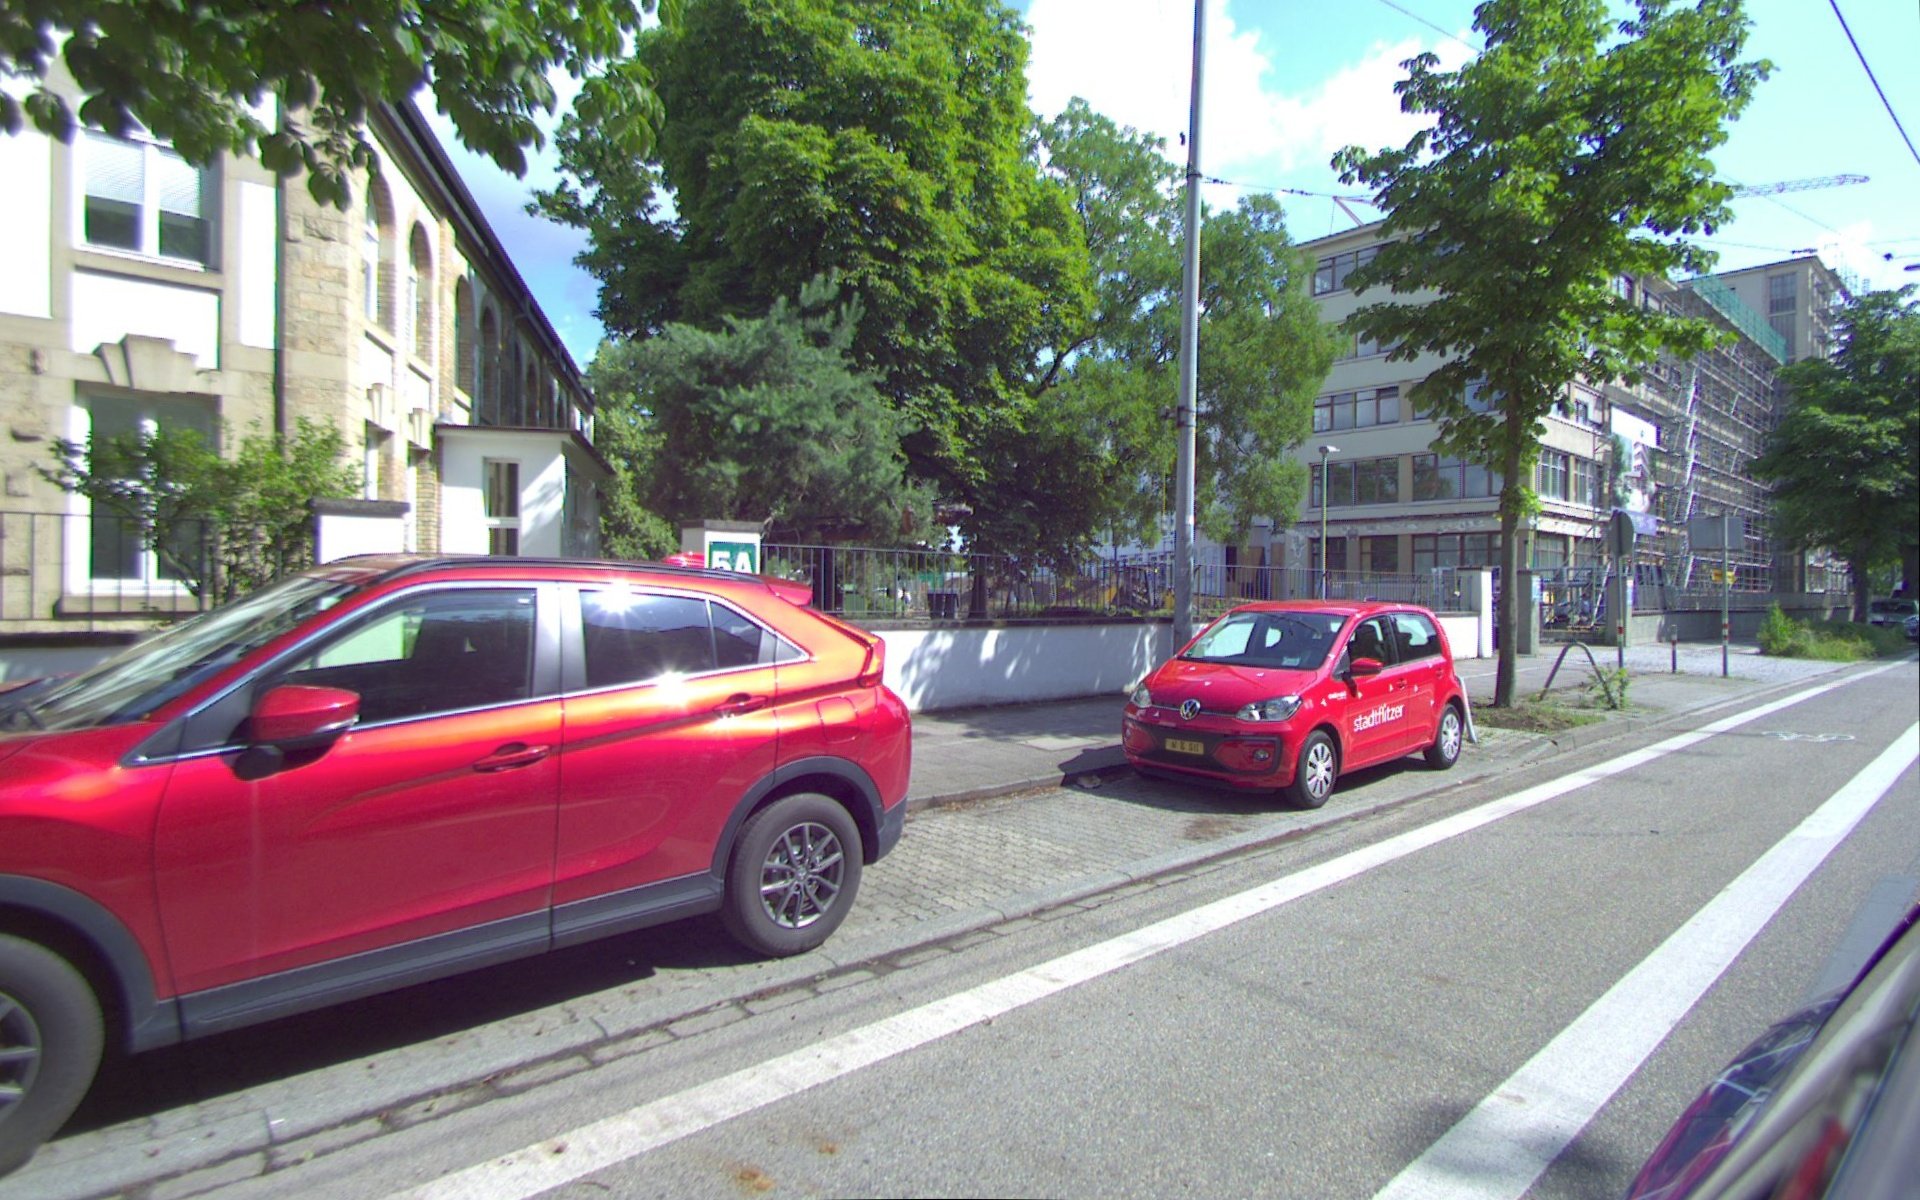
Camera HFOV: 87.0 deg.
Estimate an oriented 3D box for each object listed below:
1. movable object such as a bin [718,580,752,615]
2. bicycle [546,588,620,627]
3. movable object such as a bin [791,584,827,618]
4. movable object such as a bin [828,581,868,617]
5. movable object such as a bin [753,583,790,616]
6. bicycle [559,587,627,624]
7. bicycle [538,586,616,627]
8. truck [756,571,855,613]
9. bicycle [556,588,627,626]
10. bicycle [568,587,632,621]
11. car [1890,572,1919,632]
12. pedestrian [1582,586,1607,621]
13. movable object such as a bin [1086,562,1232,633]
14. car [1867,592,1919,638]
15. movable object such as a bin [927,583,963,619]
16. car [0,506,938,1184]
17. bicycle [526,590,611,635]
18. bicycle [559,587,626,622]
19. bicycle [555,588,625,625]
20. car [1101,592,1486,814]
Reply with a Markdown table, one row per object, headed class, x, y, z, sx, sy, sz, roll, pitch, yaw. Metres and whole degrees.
| class | x | y | z | sx | sy | sz | roll | pitch | yaw |
| --- | --- | --- | --- | --- | --- | --- | --- | --- | --- |
| movable object such as a bin | -8.574 | -0.107 | 38.524 | 1.166 | 1.309 | 1.005 | 1 | 1 | -17 |
| bicycle | -9.893 | 0.197 | 26.590 | 1.782 | 1.000 | 0.428 | 1 | -1 | -15 |
| movable object such as a bin | -5.862 | 0.030 | 39.269 | 1.229 | 1.281 | 1.002 | 1 | 1 | -17 |
| movable object such as a bin | -4.403 | -0.036 | 39.712 | 1.338 | 1.369 | 1.096 | 1 | 1 | -17 |
| movable object such as a bin | -7.245 | -0.016 | 38.870 | 1.247 | 1.235 | 1.031 | 1 | 1 | -17 |
| bicycle | -10.469 | 0.164 | 28.906 | 1.782 | 1.000 | 0.428 | 1 | -1 | -15 |
| bicycle | -9.663 | 0.179 | 25.558 | 1.782 | 1.000 | 0.428 | 1 | -1 | -15 |
| truck | -10.652 | -0.524 | 69.987 | 6.424 | 2.813 | 2.002 | 0 | -1 | -28 |
| bicycle | -10.064 | 0.183 | 27.681 | 1.782 | 1.000 | 0.428 | 1 | -1 | -15 |
| bicycle | -10.957 | 0.123 | 30.809 | 1.782 | 1.000 | 0.428 | 1 | -1 | -15 |
| car | 43.566 | 0.035 | 45.300 | 5.299 | 2.593 | 2.333 | -1 | -2 | -43 |
| pedestrian | 24.730 | 0.144 | 39.447 | 0.455 | 1.329 | 0.634 | -3 | 0 | -38 |
| movable object such as a bin | 7.876 | -0.113 | 40.071 | 5.365 | 2.474 | 1.987 | 3 | 0 | 20 |
| car | 35.992 | 0.528 | 38.514 | 4.165 | 1.627 | 1.747 | -1 | -2 | -43 |
| movable object such as a bin | -0.572 | 0.030 | 40.166 | 1.300 | 1.374 | 1.129 | 1 | 1 | 5 |
| car | -2.270 | 0.572 | 3.947 | 4.211 | 1.697 | 1.878 | 0 | 2 | -44 |
| bicycle | -9.081 | 0.303 | 23.533 | 1.782 | 1.000 | 0.428 | 1 | -1 | -15 |
| bicycle | -10.739 | 0.134 | 29.599 | 1.782 | 1.000 | 0.428 | 1 | -1 | -15 |
| bicycle | -10.284 | 0.189 | 28.180 | 1.782 | 1.000 | 0.428 | 1 | -1 | -15 |
| car | 2.967 | 0.685 | 8.661 | 3.535 | 1.446 | 1.602 | -1 | 2 | -43 |
